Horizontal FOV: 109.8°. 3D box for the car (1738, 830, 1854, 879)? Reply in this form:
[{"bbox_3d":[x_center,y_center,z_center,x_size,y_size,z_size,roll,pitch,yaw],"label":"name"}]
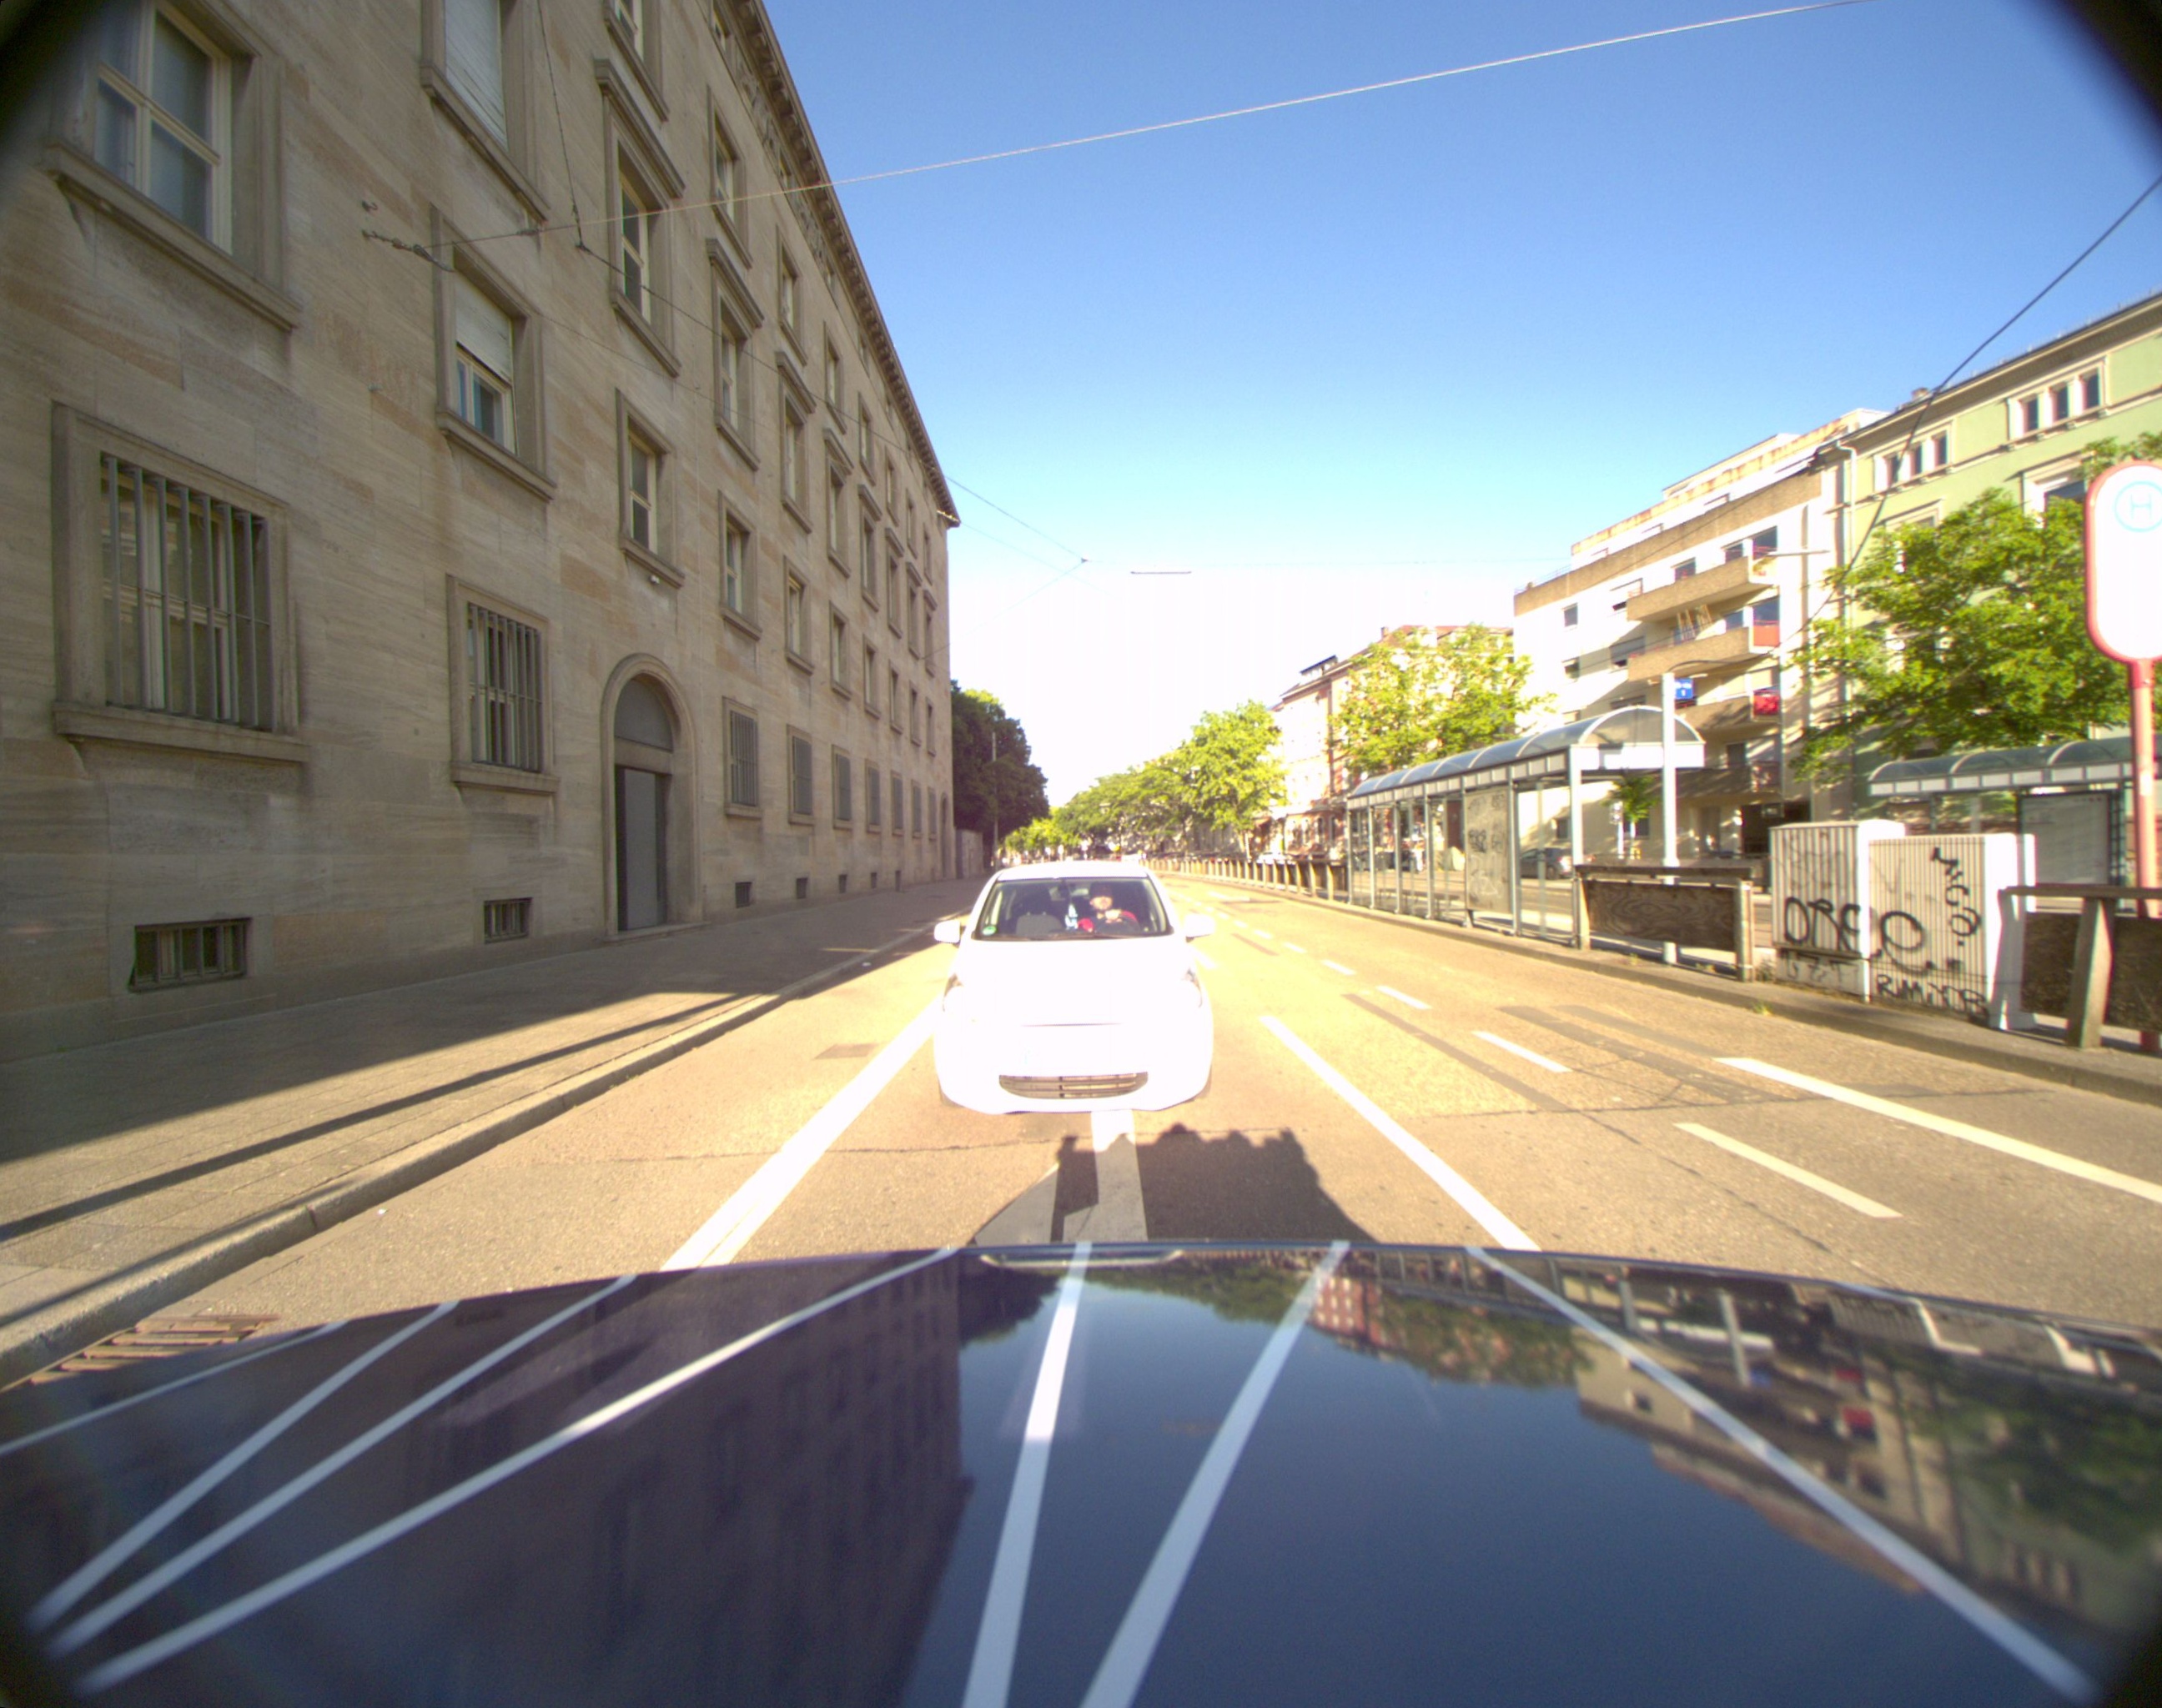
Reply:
[{"bbox_3d":[31.185,0.004,33.166,4.001,2.002,1.798,-1,1,-13],"label":"car"}]

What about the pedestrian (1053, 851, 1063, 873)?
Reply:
[{"bbox_3d":[-1.773,0.617,58.200,0.686,1.673,0.928,-1,1,-2],"label":"pedestrian"}]

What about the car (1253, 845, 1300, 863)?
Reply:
[{"bbox_3d":[16.268,0.000,63.266,3.648,1.342,1.578,-2,1,-29],"label":"car"}]

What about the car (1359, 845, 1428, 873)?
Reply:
[{"bbox_3d":[18.337,0.274,44.805,2.000,1.521,3.997,-1,0,-8],"label":"car"}]

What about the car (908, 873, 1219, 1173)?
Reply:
[{"bbox_3d":[-0.069,0.940,5.826,1.606,1.455,3.621,-1,0,1],"label":"car"}]

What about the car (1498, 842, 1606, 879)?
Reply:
[{"bbox_3d":[20.993,0.274,34.081,2.000,1.521,3.997,0,0,-8],"label":"car"}]
